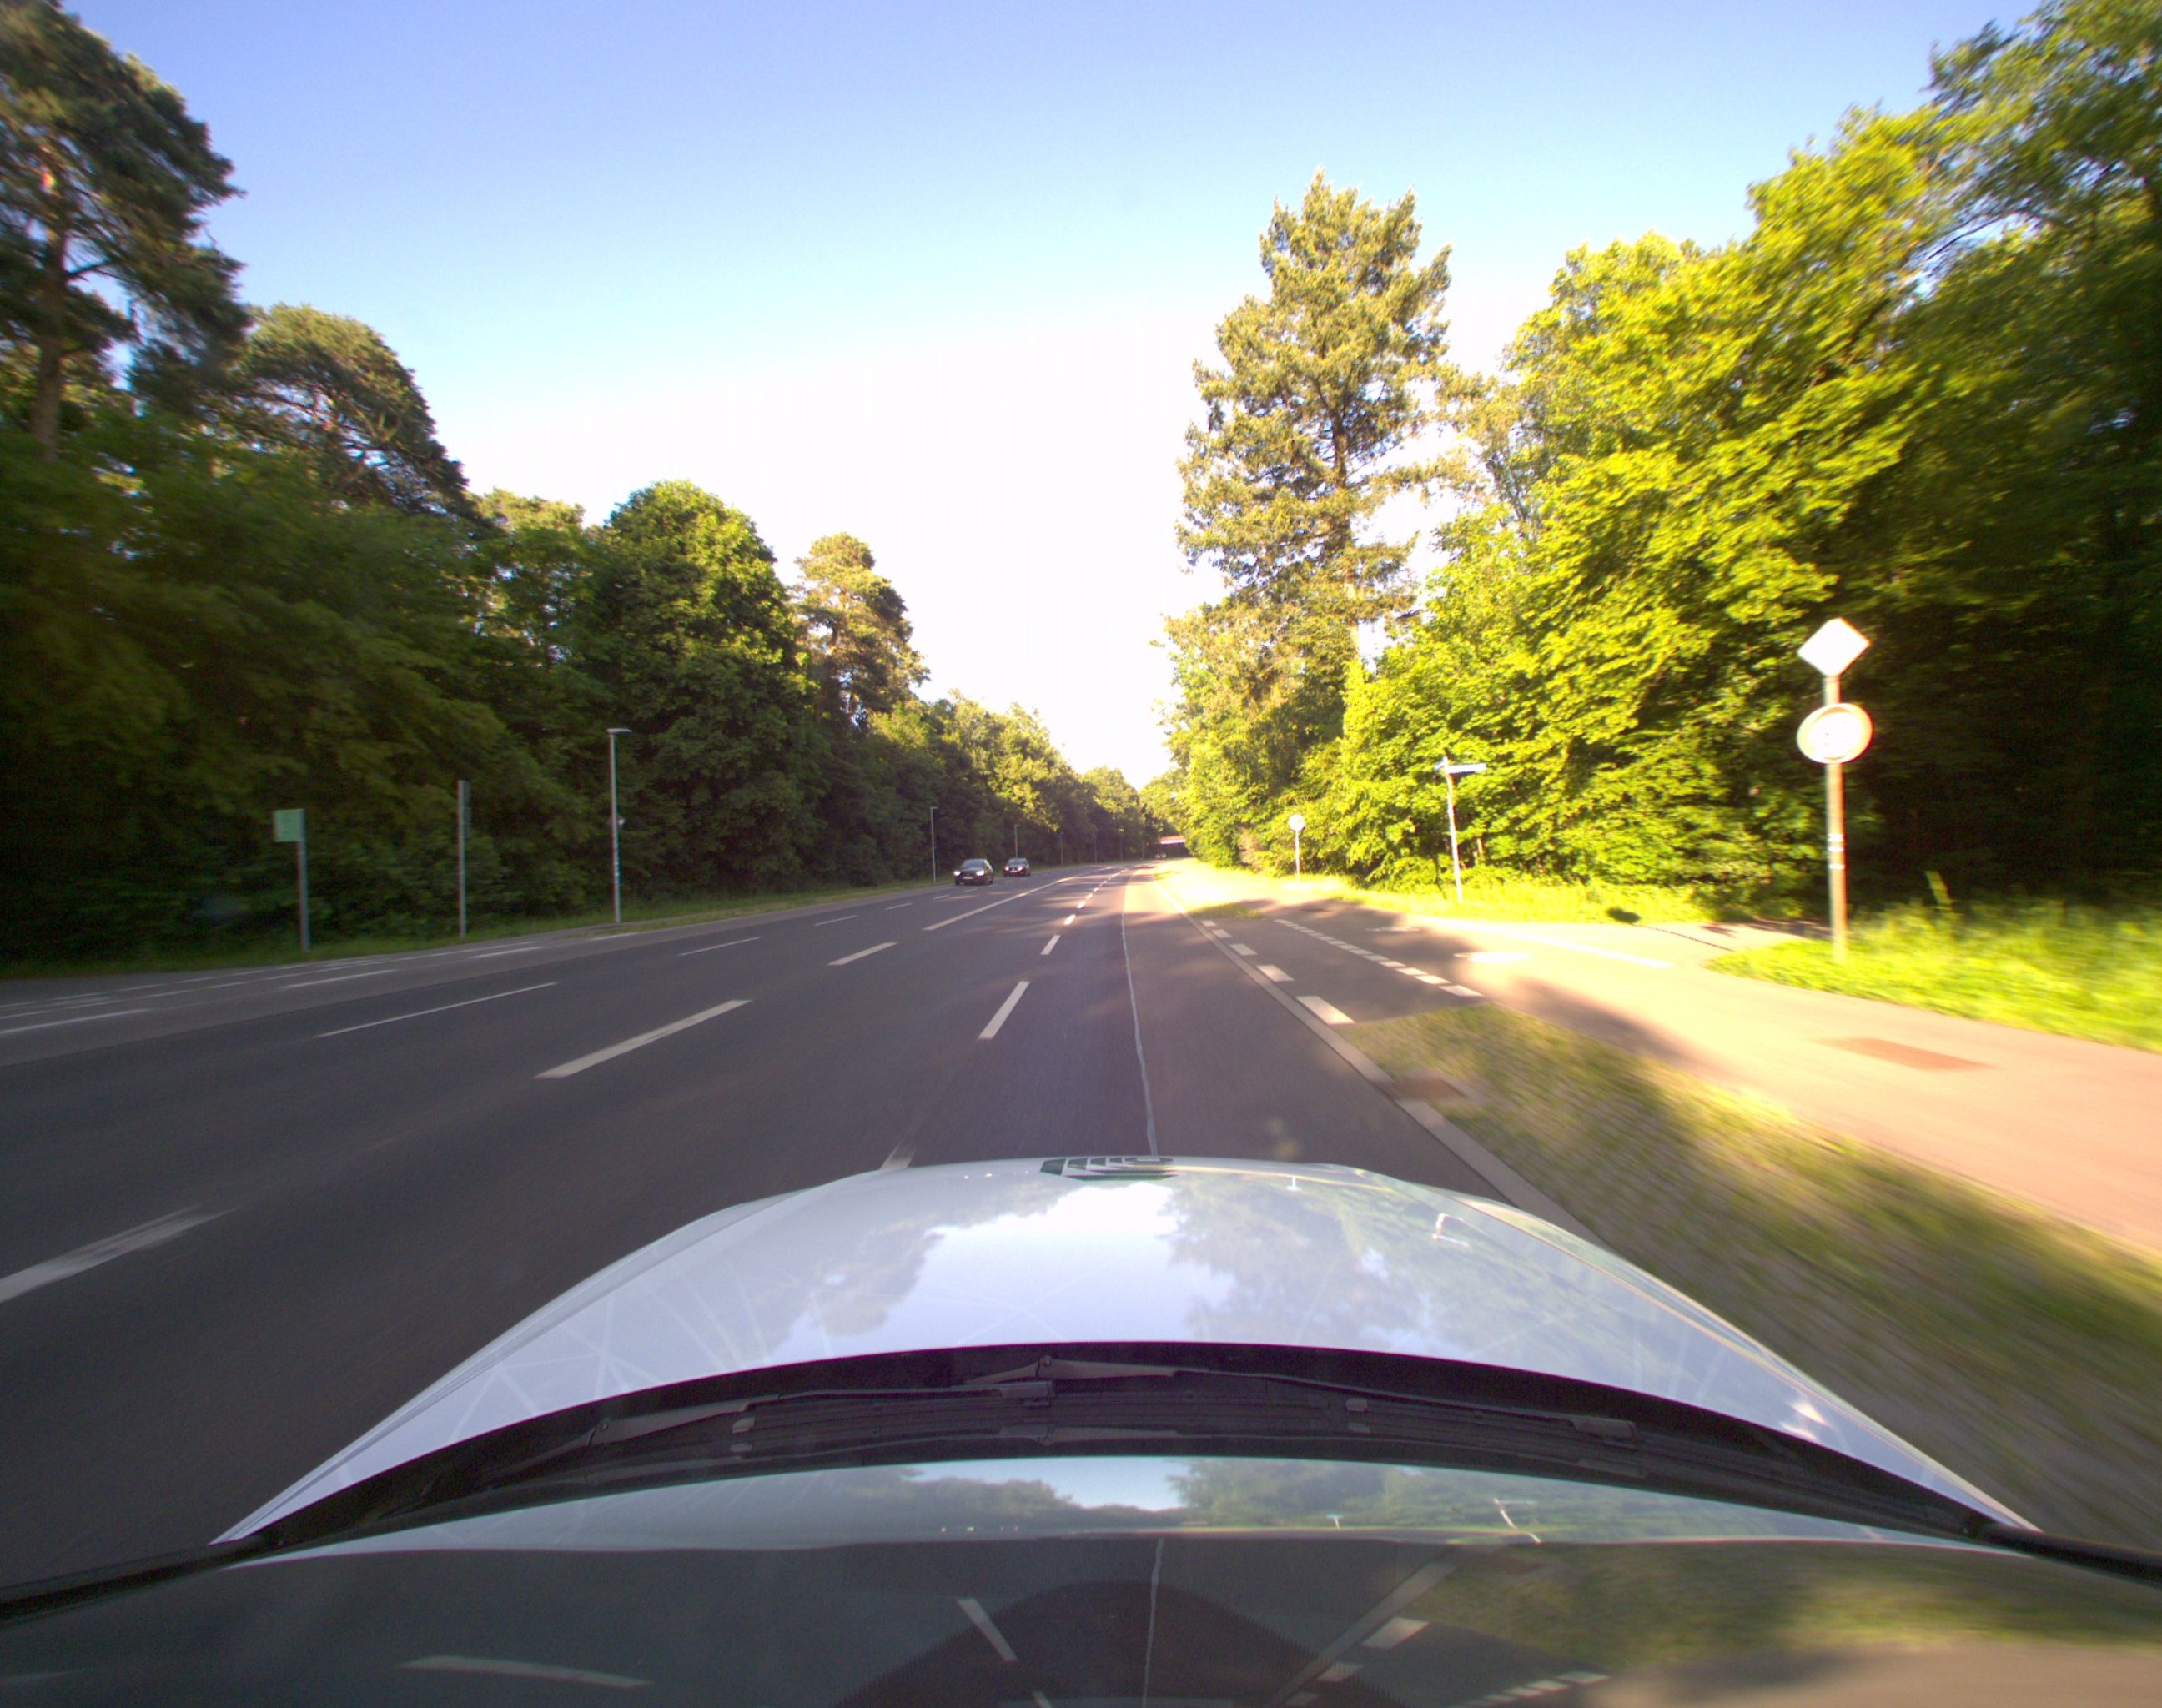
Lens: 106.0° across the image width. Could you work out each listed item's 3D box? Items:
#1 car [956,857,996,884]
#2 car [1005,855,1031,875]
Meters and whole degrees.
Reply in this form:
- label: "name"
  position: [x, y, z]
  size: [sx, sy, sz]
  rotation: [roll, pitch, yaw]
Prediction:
- label: "car"
  position: [-6.002, 0.928, 46.925]
  size: [1.732, 1.457, 4.000]
  rotation: [0, 0, 1]
- label: "car"
  position: [-4.991, 0.815, 64.633]
  size: [1.651, 1.480, 4.173]
  rotation: [-1, 0, 1]
